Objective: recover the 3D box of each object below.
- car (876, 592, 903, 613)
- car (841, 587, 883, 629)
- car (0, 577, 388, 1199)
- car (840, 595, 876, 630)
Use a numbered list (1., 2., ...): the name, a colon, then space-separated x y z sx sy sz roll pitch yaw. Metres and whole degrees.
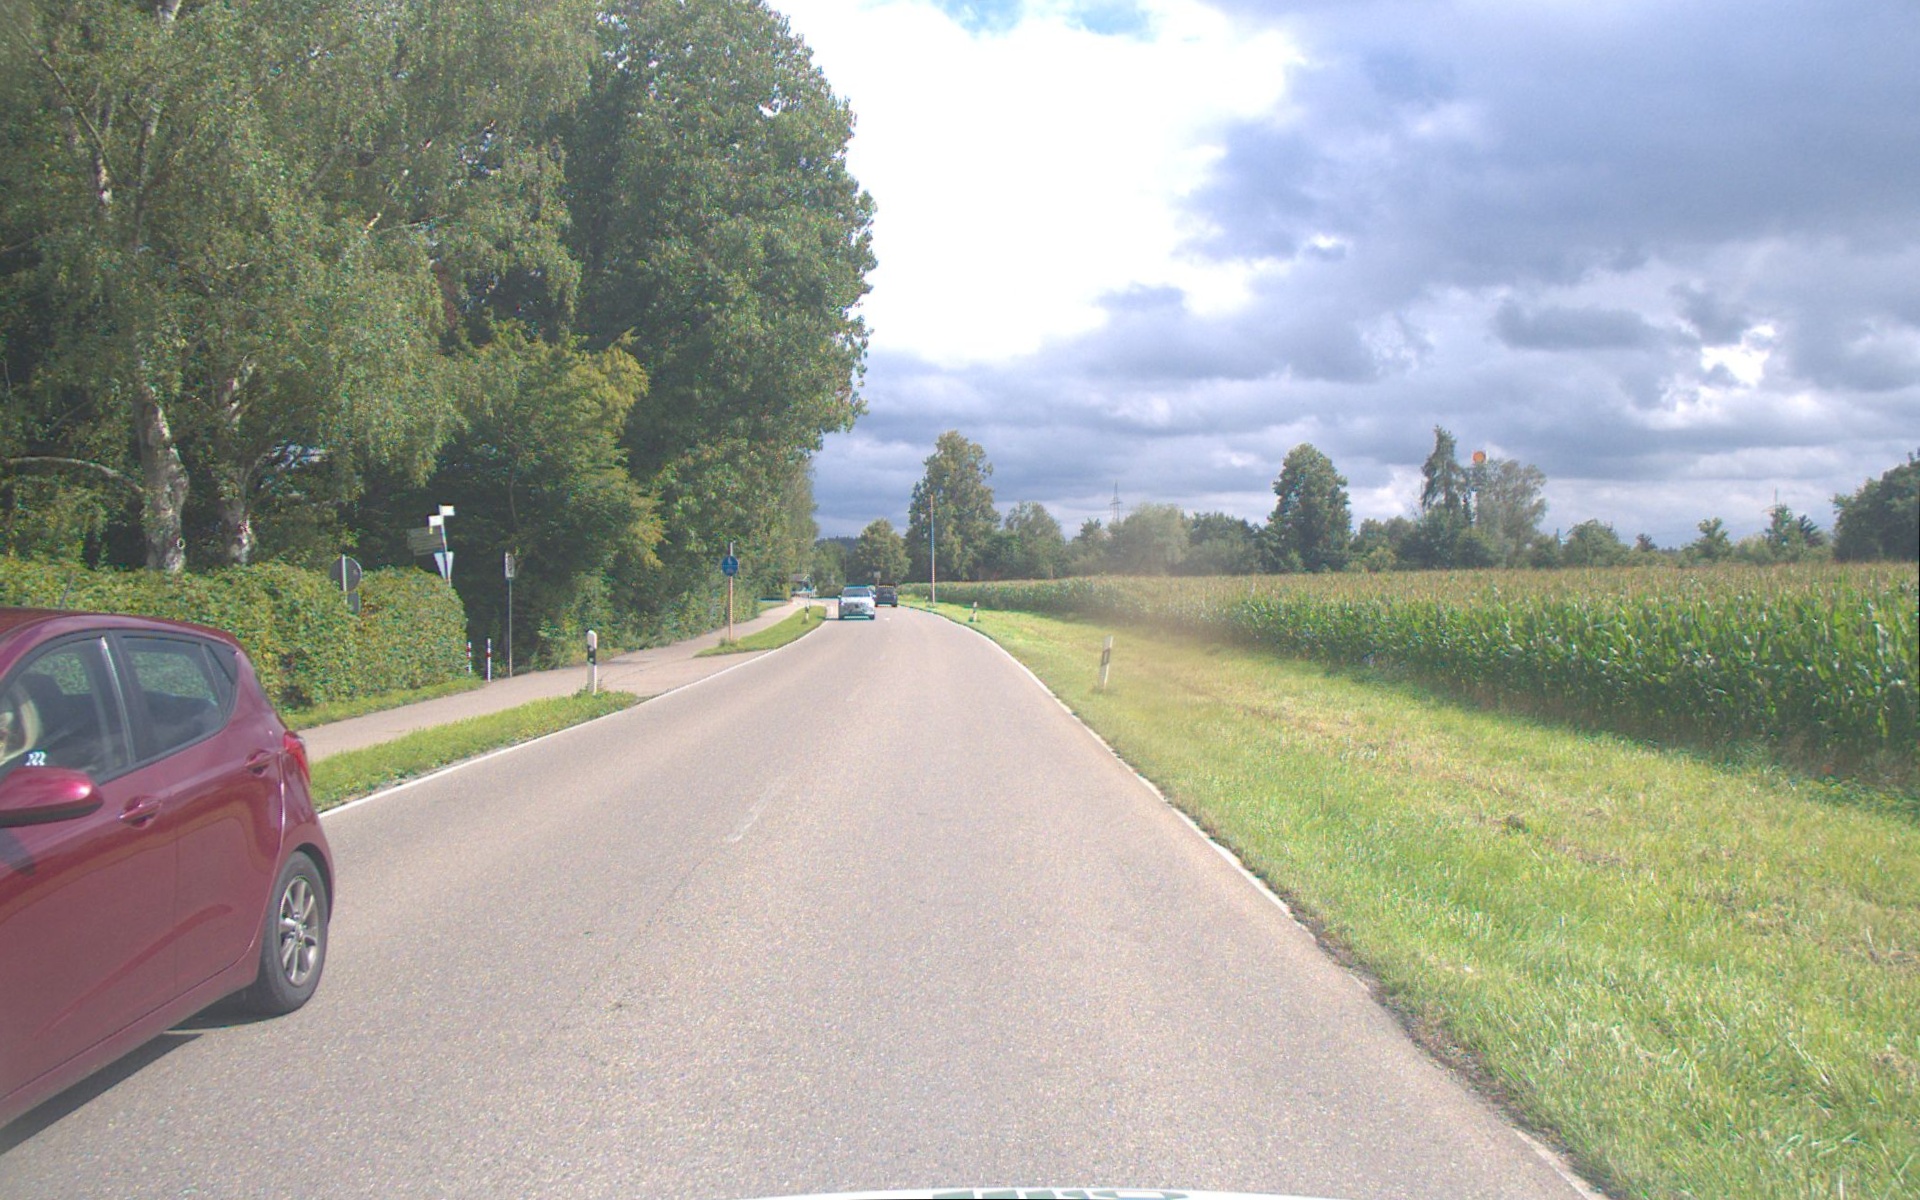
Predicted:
1. car: -5.628 0.171 132.393 1.953 1.613 3.999 1 0 -1
2. car: -5.001 0.430 84.941 1.953 2.049 3.999 1 0 -1
3. car: -3.161 0.712 4.709 1.705 1.496 3.999 -2 1 -1
4. car: -5.255 0.616 84.946 1.775 1.679 4.289 -2 1 -4
